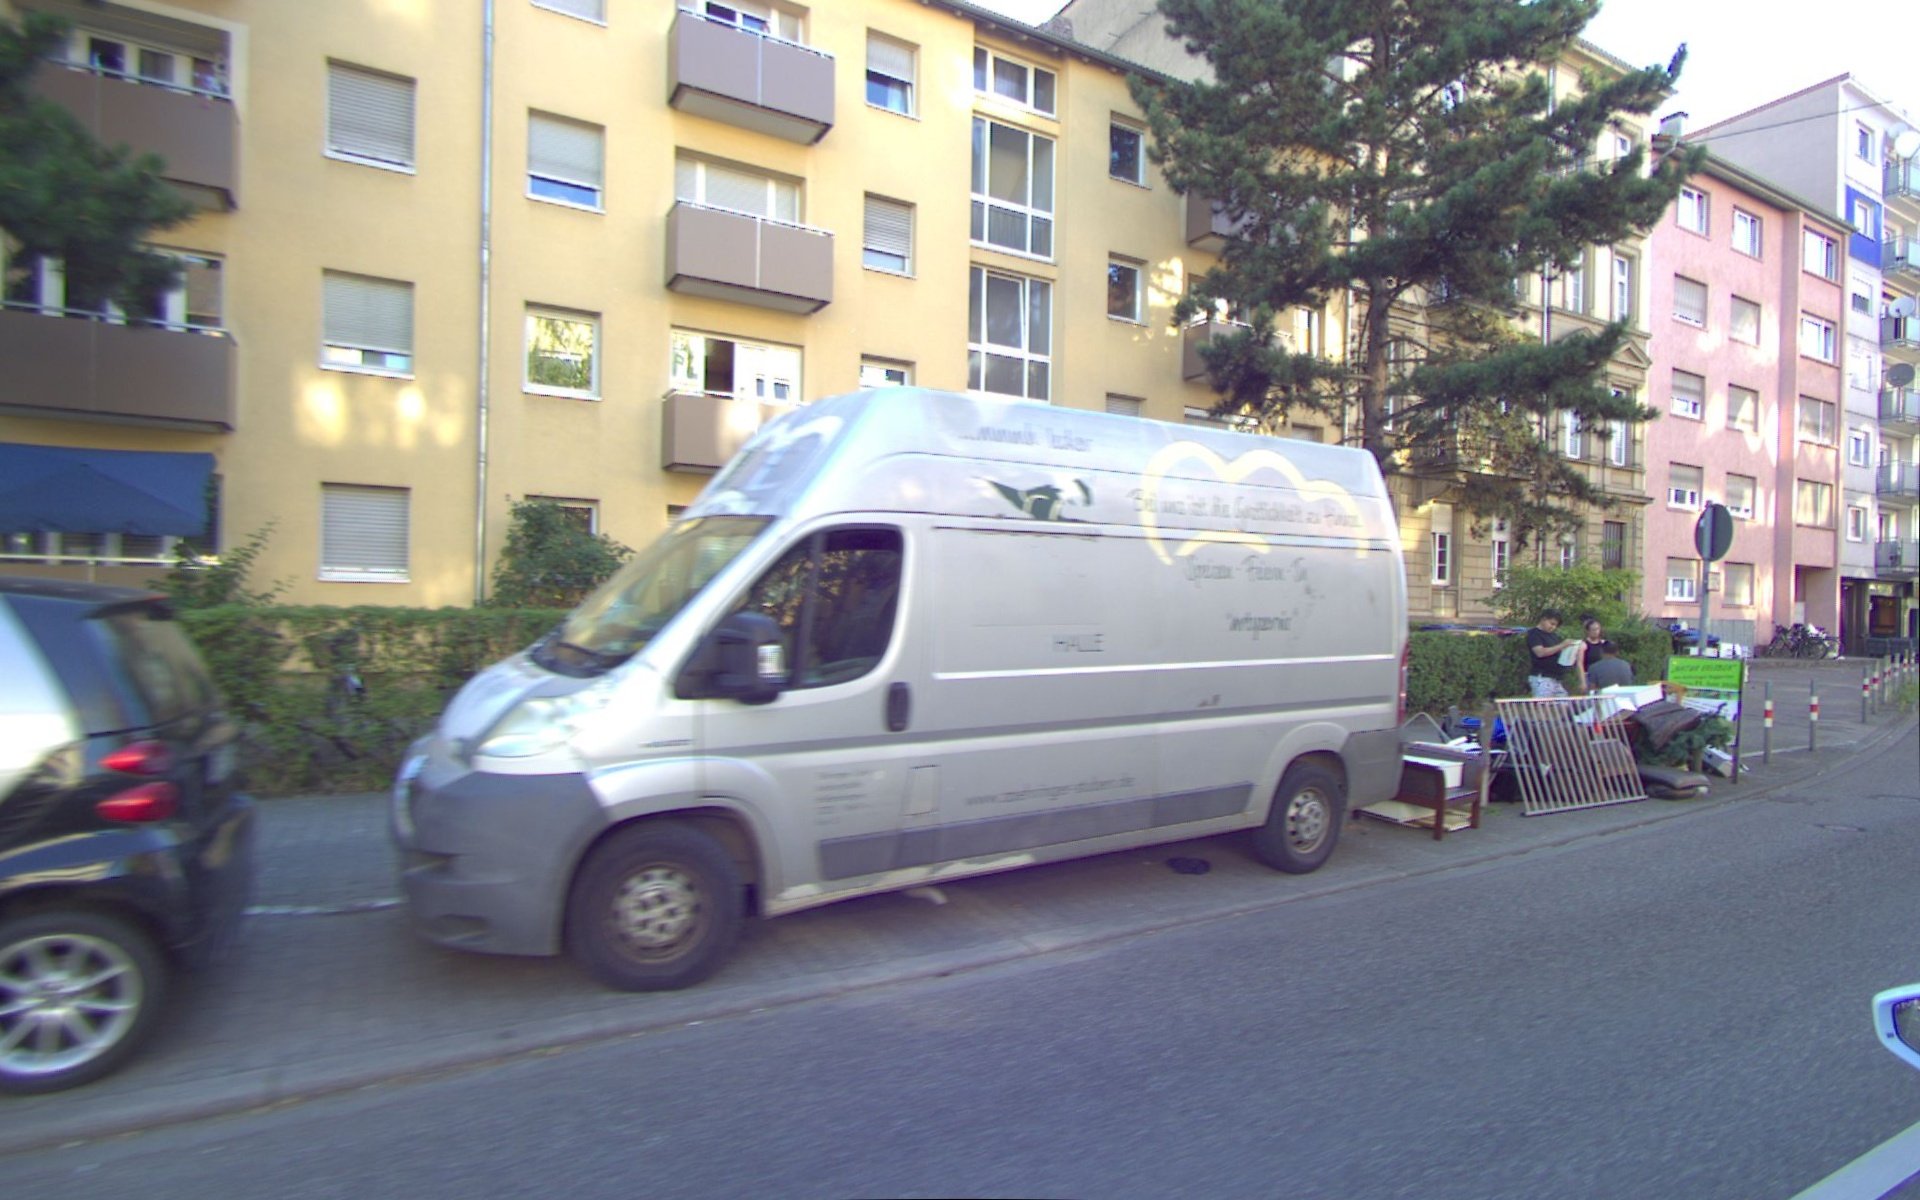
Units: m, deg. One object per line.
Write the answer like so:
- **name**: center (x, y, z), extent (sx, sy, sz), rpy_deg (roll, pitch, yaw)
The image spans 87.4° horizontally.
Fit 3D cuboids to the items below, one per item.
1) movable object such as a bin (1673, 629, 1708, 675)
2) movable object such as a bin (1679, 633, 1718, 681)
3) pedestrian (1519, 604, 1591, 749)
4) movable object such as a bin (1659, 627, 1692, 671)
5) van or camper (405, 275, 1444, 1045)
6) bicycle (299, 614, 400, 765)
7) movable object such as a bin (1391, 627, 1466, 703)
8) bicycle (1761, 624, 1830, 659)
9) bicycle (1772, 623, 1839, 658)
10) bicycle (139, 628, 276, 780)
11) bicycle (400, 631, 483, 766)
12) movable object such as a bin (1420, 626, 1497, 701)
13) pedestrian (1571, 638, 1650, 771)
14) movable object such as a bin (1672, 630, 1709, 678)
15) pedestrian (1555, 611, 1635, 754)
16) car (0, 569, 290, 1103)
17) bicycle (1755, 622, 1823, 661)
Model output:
- **movable object such as a bin**: center (18.819, 1.341, 25.884), extent (0.630, 1.126, 0.582), rpy_deg (3, 1, 30)
- **movable object such as a bin**: center (17.758, 1.365, 24.155), extent (0.630, 1.082, 0.626), rpy_deg (3, 1, 30)
- **pedestrian**: center (7.103, 0.891, 11.994), extent (0.718, 1.674, 0.476), rpy_deg (1, 0, -36)
- **movable object such as a bin**: center (19.280, 1.319, 27.074), extent (0.630, 1.126, 0.582), rpy_deg (3, 1, 30)
- **van or camper**: center (0.162, 0.247, 5.994), extent (5.950, 2.699, 2.024), rpy_deg (1, 2, -33)
- **bicycle**: center (-5.185, 0.683, 8.480), extent (0.603, 1.108, 1.926), rpy_deg (1, -1, -35)
- **movable object such as a bin**: center (7.202, 0.985, 15.456), extent (0.575, 1.065, 0.807), rpy_deg (1, 3, -31)
- **bicycle**: center (27.742, 1.379, 33.356), extent (0.544, 1.054, 1.658), rpy_deg (2, 1, -36)
- **bicycle**: center (28.432, 1.357, 33.803), extent (0.546, 1.054, 1.653), rpy_deg (1, 1, -43)
- **bicycle**: center (-5.935, 0.758, 8.011), extent (0.575, 0.938, 1.927), rpy_deg (1, 2, -28)
- **bicycle**: center (-4.599, 0.811, 8.902), extent (0.575, 0.938, 1.927), rpy_deg (1, 2, -28)
- **movable object such as a bin**: center (7.770, 0.976, 15.669), extent (0.575, 1.065, 0.863), rpy_deg (1, 3, -31)
- **pedestrian**: center (7.217, 1.133, 11.152), extent (0.476, 1.396, 0.555), rpy_deg (1, 1, -35)
- **movable object such as a bin**: center (18.053, 1.328, 24.823), extent (0.630, 1.126, 0.582), rpy_deg (3, 1, 30)
- **pedestrian**: center (7.783, 0.986, 12.313), extent (0.690, 1.674, 0.600), rpy_deg (1, 0, -36)
- **car**: center (-3.874, 0.678, 3.210), extent (2.727, 1.569, 1.397), rpy_deg (1, 2, -29)
- **bicycle**: center (27.101, 1.352, 32.869), extent (1.647, 1.175, 0.495), rpy_deg (2, 1, 35)
